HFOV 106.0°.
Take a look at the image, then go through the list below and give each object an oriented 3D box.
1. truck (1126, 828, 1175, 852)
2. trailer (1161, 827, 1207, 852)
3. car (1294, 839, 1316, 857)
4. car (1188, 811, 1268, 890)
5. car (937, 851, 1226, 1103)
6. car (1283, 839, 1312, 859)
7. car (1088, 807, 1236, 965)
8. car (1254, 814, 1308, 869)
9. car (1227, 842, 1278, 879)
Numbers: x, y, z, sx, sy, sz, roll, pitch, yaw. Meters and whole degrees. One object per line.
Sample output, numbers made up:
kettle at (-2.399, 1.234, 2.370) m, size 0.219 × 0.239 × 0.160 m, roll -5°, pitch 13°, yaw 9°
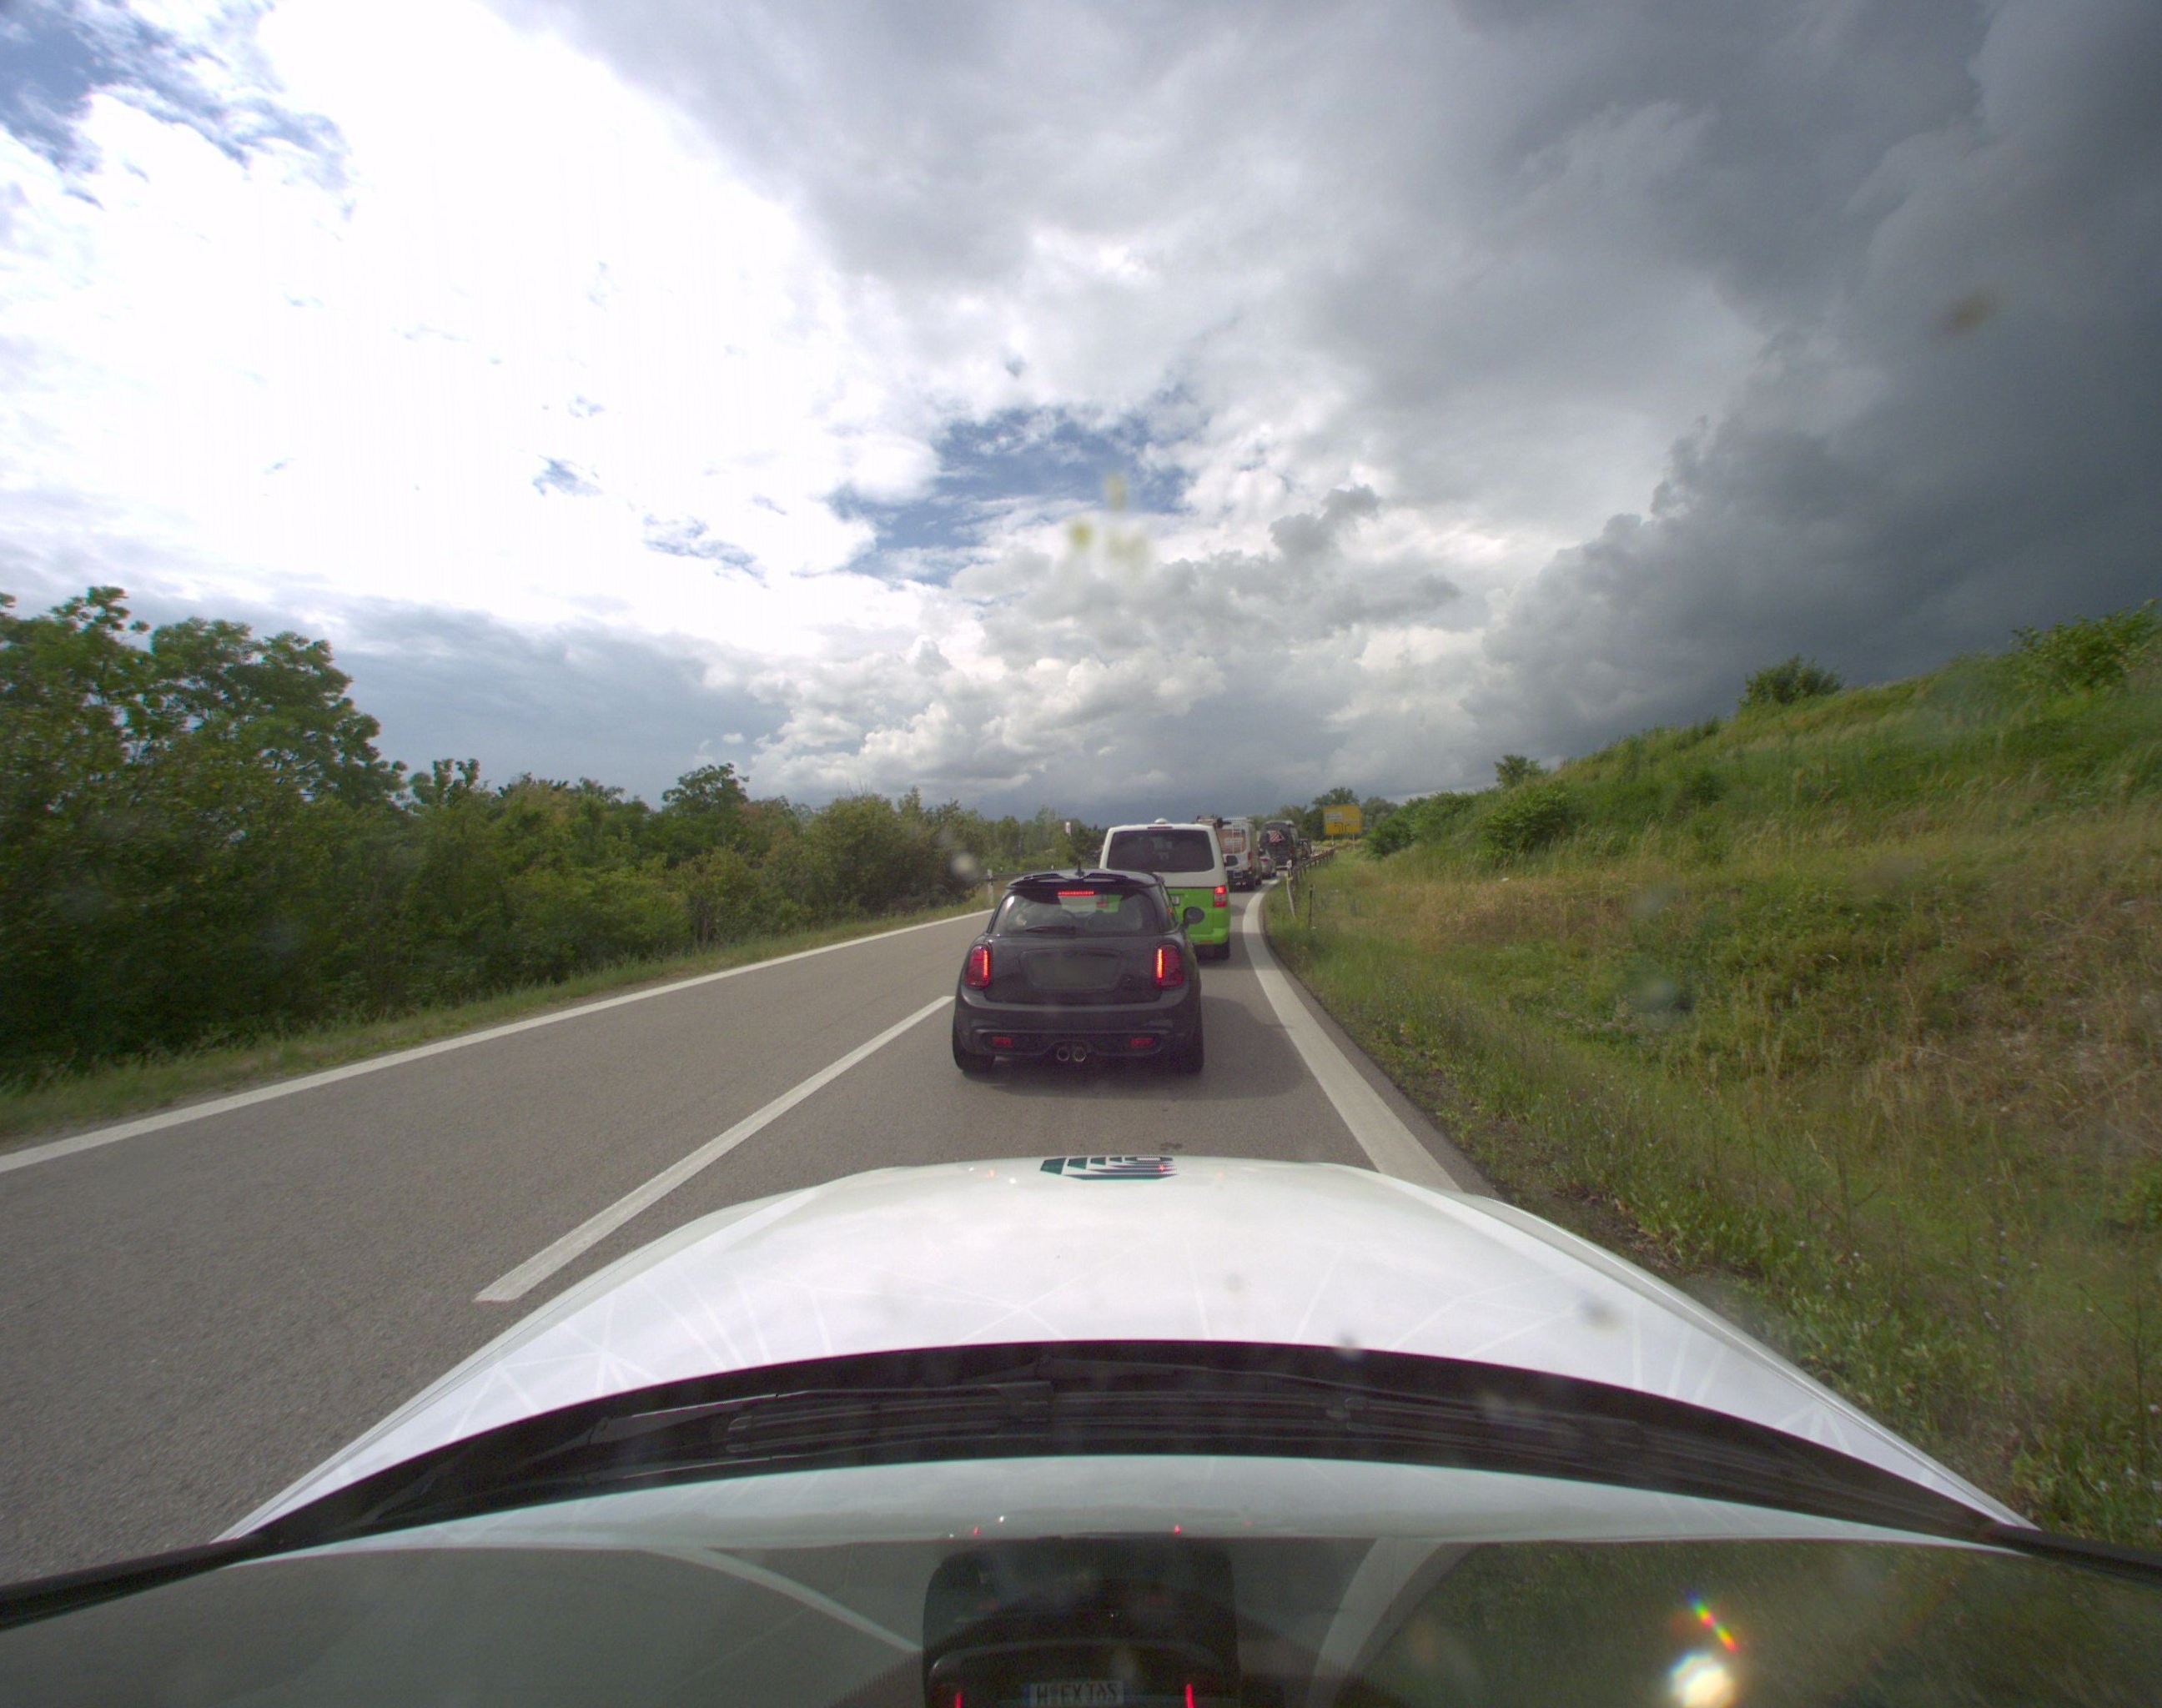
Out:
truck at (12.029, -2.341, 142.037) m, size 2.857 × 3.976 × 9.921 m, roll 0°, pitch -1°, yaw -35°
trailer at (16.916, -2.374, 134.095) m, size 3.054 × 3.898 × 8.690 m, roll 0°, pitch -1°, yaw -29°
car at (24.501, -0.592, 89.232) m, size 2.080 × 1.883 × 4.511 m, roll -1°, pitch -1°, yaw 13°
car at (5.570, -0.089, 30.176) m, size 2.194 × 2.622 × 5.559 m, roll -1°, pitch -1°, yaw 18°
car at (0.185, 0.764, 6.960) m, size 1.790 × 1.546 × 3.745 m, roll -1°, pitch 0°, yaw 6°
car at (17.940, -0.393, 67.285) m, size 1.877 × 1.588 × 4.518 m, roll -1°, pitch -1°, yaw 20°
car at (1.435, 0.432, 12.757) m, size 1.899 × 2.045 × 4.193 m, roll -1°, pitch 0°, yaw 10°
car at (12.106, -0.694, 48.932) m, size 2.291 × 3.069 × 6.696 m, roll -1°, pitch -1°, yaw 21°
car at (8.174, 0.316, 38.513) m, size 1.978 × 1.642 × 3.946 m, roll -1°, pitch -1°, yaw 17°
